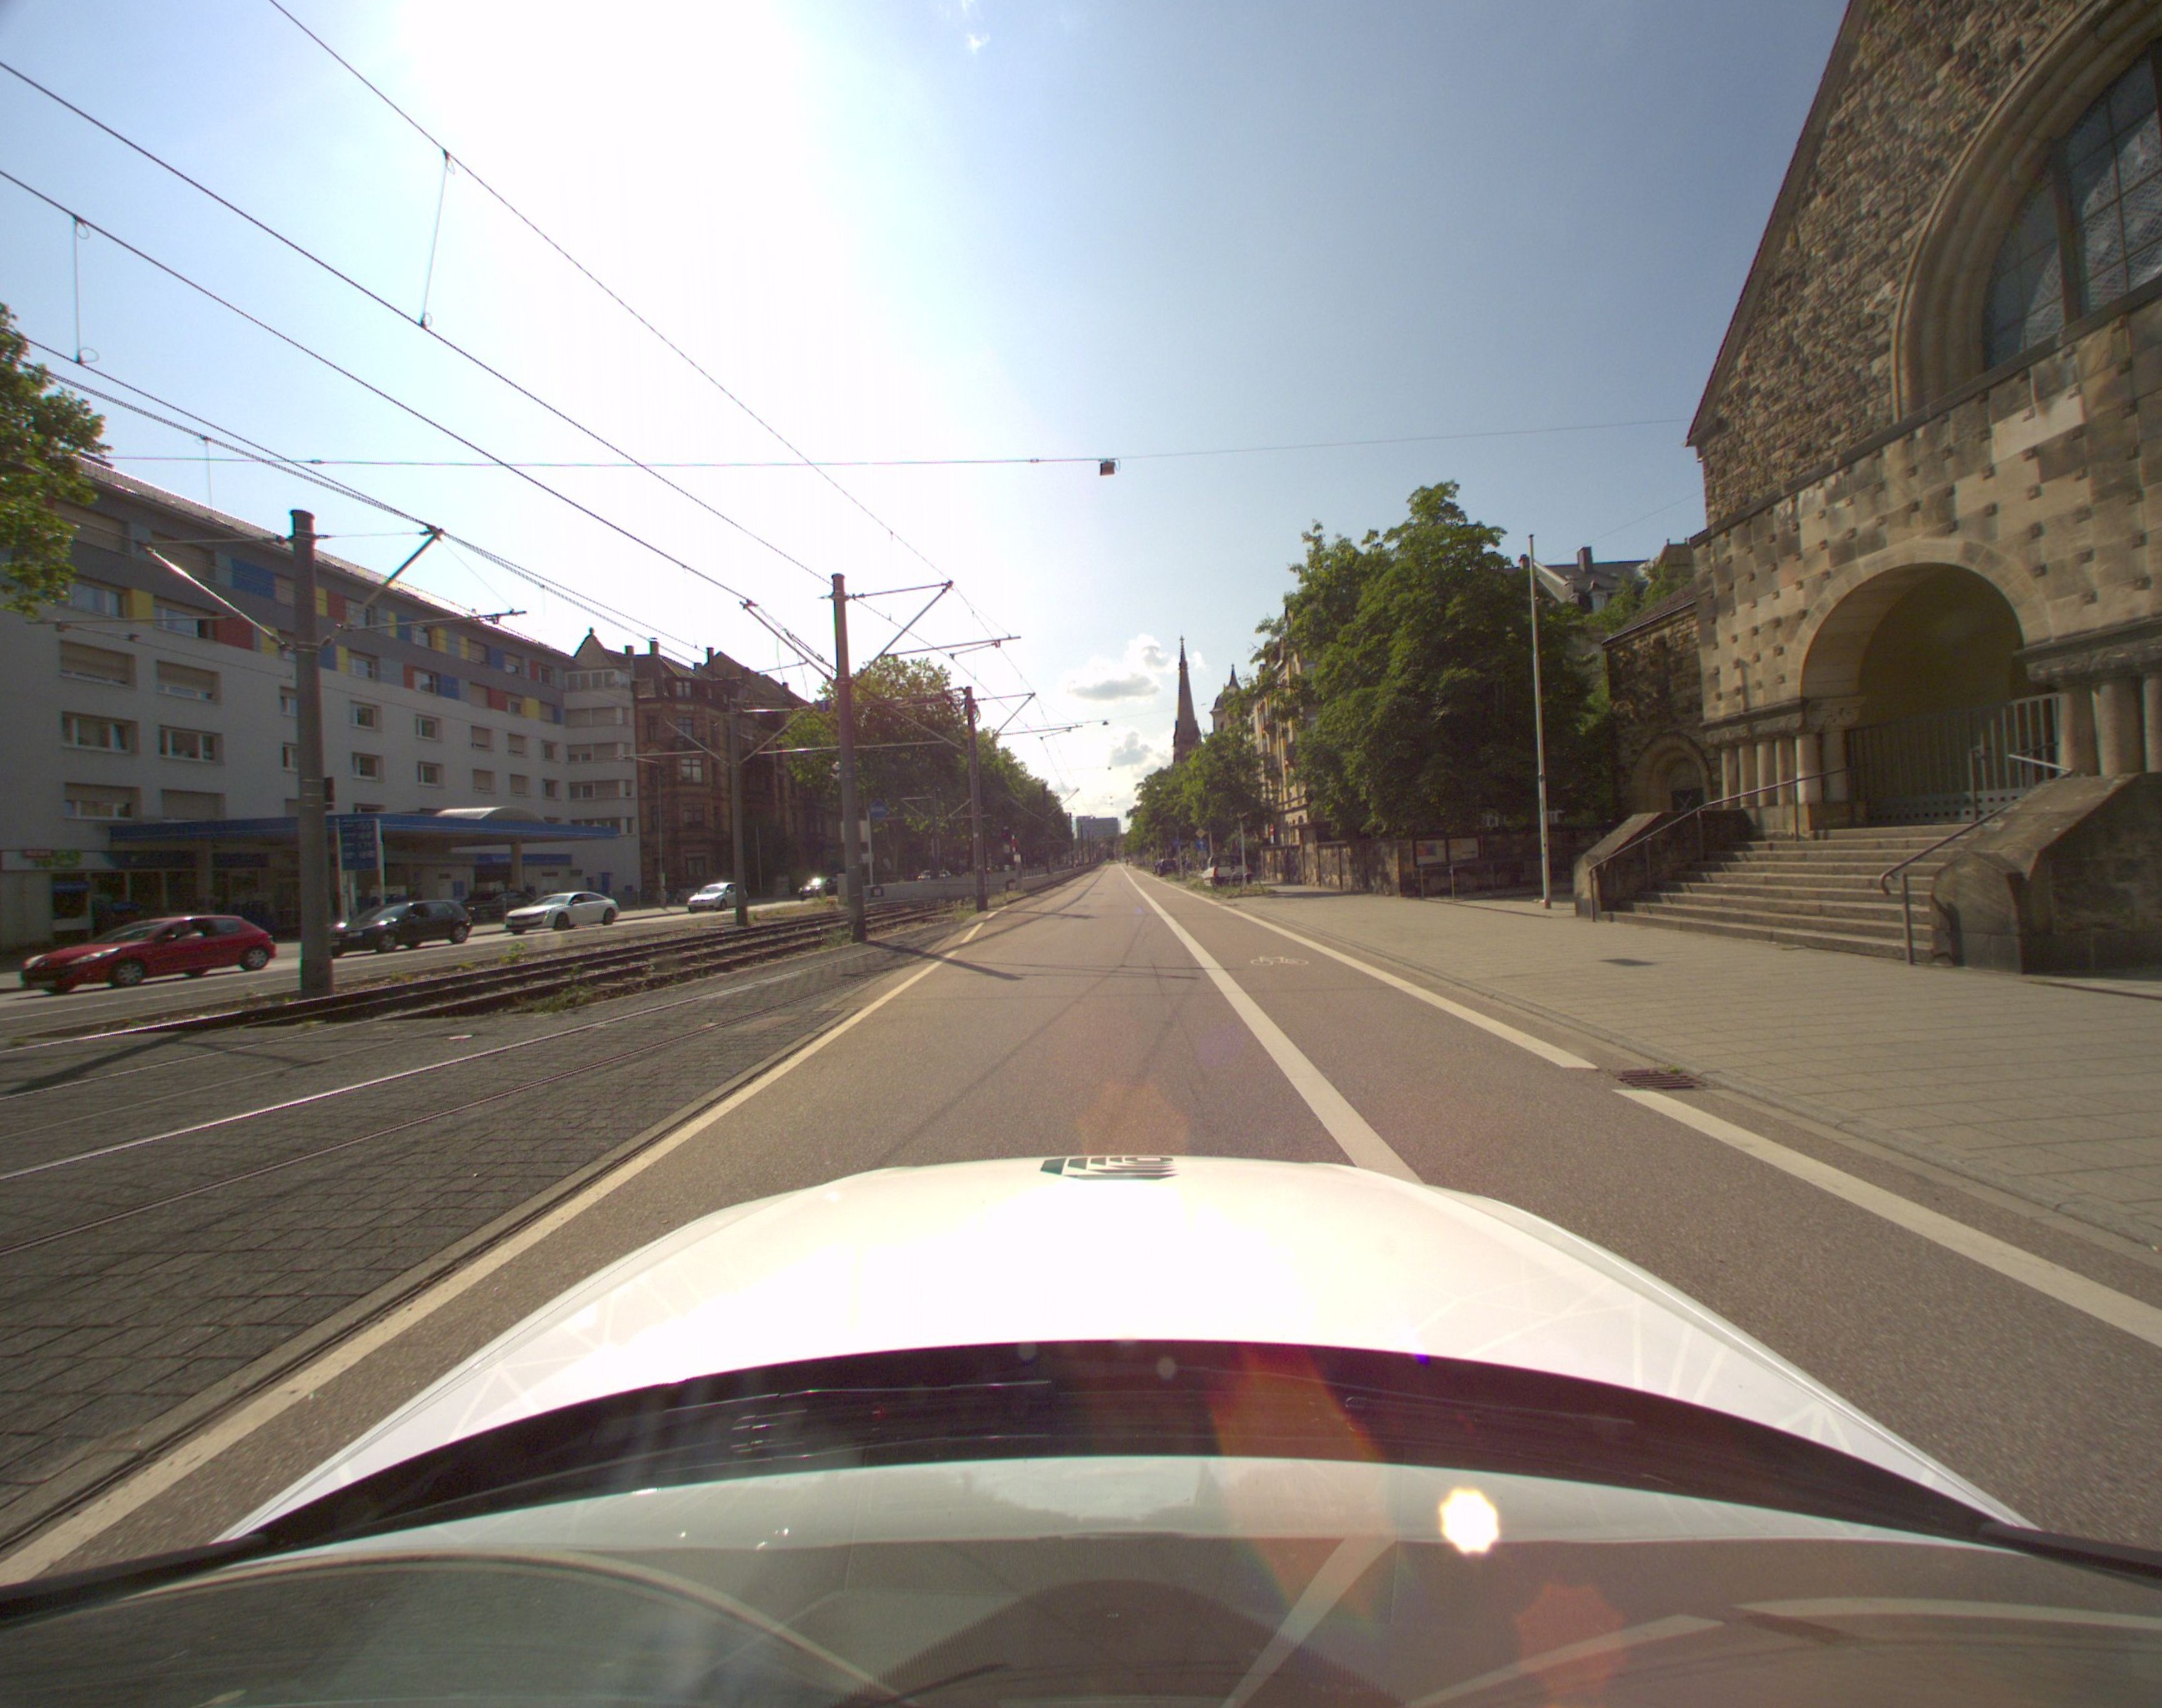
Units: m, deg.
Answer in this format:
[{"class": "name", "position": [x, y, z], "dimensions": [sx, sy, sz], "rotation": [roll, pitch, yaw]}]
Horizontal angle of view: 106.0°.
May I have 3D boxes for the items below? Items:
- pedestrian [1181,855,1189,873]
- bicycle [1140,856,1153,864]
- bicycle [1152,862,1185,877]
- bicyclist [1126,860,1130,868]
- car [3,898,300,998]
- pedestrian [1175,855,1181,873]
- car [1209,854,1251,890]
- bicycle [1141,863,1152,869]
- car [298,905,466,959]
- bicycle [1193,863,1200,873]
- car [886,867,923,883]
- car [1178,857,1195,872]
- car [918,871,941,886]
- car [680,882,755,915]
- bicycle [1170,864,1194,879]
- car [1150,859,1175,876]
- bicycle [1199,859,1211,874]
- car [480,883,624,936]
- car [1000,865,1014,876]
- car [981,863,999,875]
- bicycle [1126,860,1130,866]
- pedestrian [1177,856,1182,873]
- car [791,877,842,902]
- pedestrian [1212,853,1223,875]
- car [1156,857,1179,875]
[{"class": "pedestrian", "position": [10.784, 0.985, 84.308], "dimensions": [0.667, 1.804, 0.319], "rotation": [-5, -1, 0]}, {"class": "bicycle", "position": [10.296, 0.991, 127.900], "dimensions": [1.816, 1.145, 0.649], "rotation": [-5, -1, -9]}, {"class": "bicycle", "position": [8.405, 1.475, 78.259], "dimensions": [2.947, 1.246, 0.790], "rotation": [-3, -1, -11]}, {"class": "bicyclist", "position": [10.119, 2.106, 174.904], "dimensions": [0.767, 1.730, 1.027], "rotation": [-3, -1, 3]}, {"class": "car", "position": [-20.471, 1.977, 18.270], "dimensions": [1.706, 1.606, 4.146], "rotation": [-3, 1, 2]}, {"class": "pedestrian", "position": [10.018, 1.071, 84.232], "dimensions": [0.457, 1.804, 0.319], "rotation": [-5, -1, 0]}, {"class": "car", "position": [6.519, 0.757, 35.536], "dimensions": [1.658, 1.416, 3.856], "rotation": [-1, 0, 11]}, {"class": "bicycle", "position": [11.236, 2.047, 140.516], "dimensions": [1.811, 0.902, 0.651], "rotation": [-5, -1, -1]}, {"class": "car", "position": [-20.416, 2.236, 24.009], "dimensions": [1.609, 1.189, 3.637], "rotation": [-3, 0, 4]}, {"class": "bicycle", "position": [11.338, 1.339, 80.055], "dimensions": [0.426, 0.940, 1.808], "rotation": [-6, -1, 3]}, {"class": "car", "position": [-23.584, 2.843, 108.814], "dimensions": [4.386, 1.918, 2.000], "rotation": [-3, -1, 0]}, {"class": "car", "position": [10.615, 1.041, 81.947], "dimensions": [1.659, 1.416, 3.593], "rotation": [-3, 0, 8]}, {"class": "car", "position": [-15.974, 2.575, 86.037], "dimensions": [1.490, 1.303, 3.496], "rotation": [-5, -1, 5]}, {"class": "car", "position": [-19.271, 2.343, 43.402], "dimensions": [1.714, 1.416, 4.409], "rotation": [-4, 0, 4]}, {"class": "bicycle", "position": [7.761, 1.357, 62.679], "dimensions": [1.702, 1.069, 0.470], "rotation": [-3, -1, -4]}, {"class": "car", "position": [8.150, 1.378, 81.792], "dimensions": [1.793, 1.526, 4.487], "rotation": [-5, -1, -1]}, {"class": "bicycle", "position": [11.098, 1.084, 72.927], "dimensions": [0.655, 1.248, 2.944], "rotation": [-6, -1, 3]}, {"class": "car", "position": [-19.991, 2.039, 31.113], "dimensions": [1.939, 1.607, 5.079], "rotation": [-3, 0, 2]}, {"class": "car", "position": [-13.755, 3.045, 151.115], "dimensions": [1.832, 1.727, 4.002], "rotation": [-5, -1, 2]}, {"class": "car", "position": [-14.800, 2.393, 132.947], "dimensions": [1.984, 1.636, 4.005], "rotation": [-5, -1, 4]}, {"class": "bicycle", "position": [10.105, 2.003, 174.841], "dimensions": [0.796, 1.237, 2.780], "rotation": [-3, -1, 3]}, {"class": "pedestrian", "position": [10.095, 1.030, 83.451], "dimensions": [0.316, 1.706, 0.462], "rotation": [-6, -1, 16]}, {"class": "car", "position": [-17.644, 2.343, 54.497], "dimensions": [1.659, 1.416, 3.790], "rotation": [-3, 0, 8]}, {"class": "pedestrian", "position": [10.455, 0.784, 62.328], "dimensions": [0.720, 1.629, 0.725], "rotation": [-3, -1, 2]}, {"class": "car", "position": [7.568, 1.048, 71.785], "dimensions": [1.679, 1.502, 4.711], "rotation": [-3, 0, 3]}]
